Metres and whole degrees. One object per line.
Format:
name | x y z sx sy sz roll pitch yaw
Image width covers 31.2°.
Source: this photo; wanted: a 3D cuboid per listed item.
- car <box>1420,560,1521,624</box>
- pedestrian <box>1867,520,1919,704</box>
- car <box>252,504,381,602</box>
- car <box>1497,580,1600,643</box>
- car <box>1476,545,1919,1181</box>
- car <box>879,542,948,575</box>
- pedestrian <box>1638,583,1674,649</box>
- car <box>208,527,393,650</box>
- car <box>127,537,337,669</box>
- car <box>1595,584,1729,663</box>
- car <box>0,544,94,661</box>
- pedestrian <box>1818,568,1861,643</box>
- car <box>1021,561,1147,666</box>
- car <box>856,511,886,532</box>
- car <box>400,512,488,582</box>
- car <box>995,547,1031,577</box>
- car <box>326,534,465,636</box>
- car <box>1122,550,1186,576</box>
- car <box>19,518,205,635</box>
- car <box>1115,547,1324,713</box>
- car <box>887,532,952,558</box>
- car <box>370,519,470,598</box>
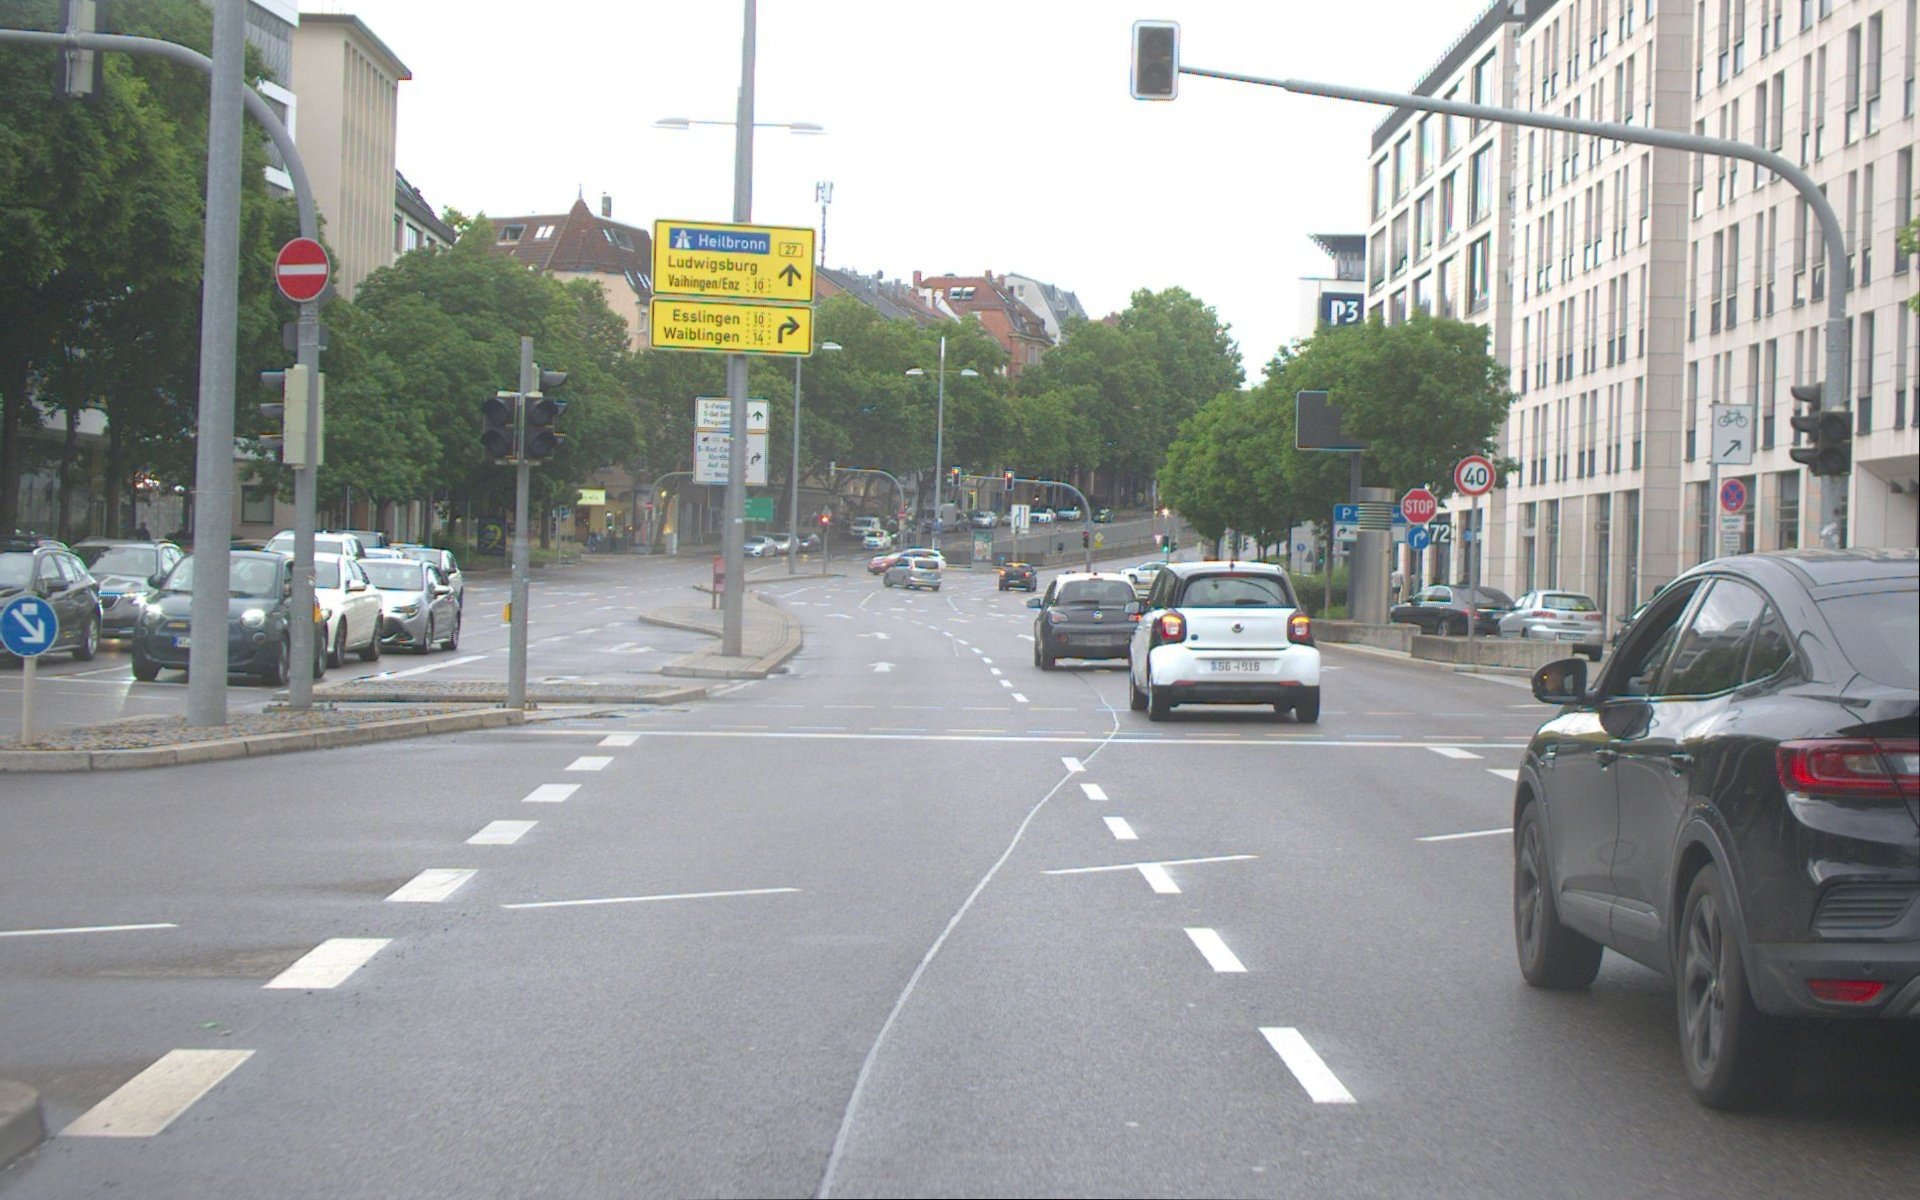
car | 11.539 -0.194 77.959 1.661 1.396 3.832 1 0 -1
pedestrian | 9.561 0.117 34.525 0.727 1.826 0.510 1 0 -1
car | -11.910 -0.864 63.806 1.743 1.742 3.540 1 0 -1
car | 12.375 0.223 72.470 1.506 1.261 3.502 1 0 -1
car | 2.865 0.626 10.634 1.791 1.501 4.339 1 2 -1
car | -2.292 -2.027 168.695 1.740 1.526 3.814 0 2 -30
pedestrian | 16.324 0.375 80.618 0.674 1.523 0.726 1 0 -1
car | -8.832 -0.166 46.326 1.702 1.553 4.245 1 0 -1
car | -8.424 0.018 40.045 1.743 1.439 3.395 1 0 -1
car | 11.938 0.381 58.614 1.506 1.261 3.502 1 0 -1
car | -11.654 -0.007 41.065 1.743 1.253 3.540 2 2 -1
pedestrian | 18.043 0.109 70.532 0.674 1.523 0.726 1 0 -1
car | 1.874 0.189 52.855 1.740 1.526 3.814 1 0 -1
car | -6.603 -5.857 255.204 1.740 1.526 3.813 1 1 6
car | -13.289 -1.353 88.717 1.743 1.742 3.540 1 0 -1
car | 2.748 -1.969 178.923 1.740 1.526 3.814 1 0 -1
car | -8.553 -0.229 52.316 1.538 1.472 3.696 1 0 -1
car | 11.925 -2.295 211.064 3.803 1.526 1.745 1 1 8
car | -11.803 -0.333 48.029 1.743 1.553 3.540 1 0 -1
car | 2.516 0.264 34.141 1.724 1.526 3.814 1 0 -1
car | -2.521 -3.427 212.780 3.800 1.526 1.746 1 1 -7
car | -12.236 -0.937 78.073 1.743 1.742 3.540 1 0 -1
